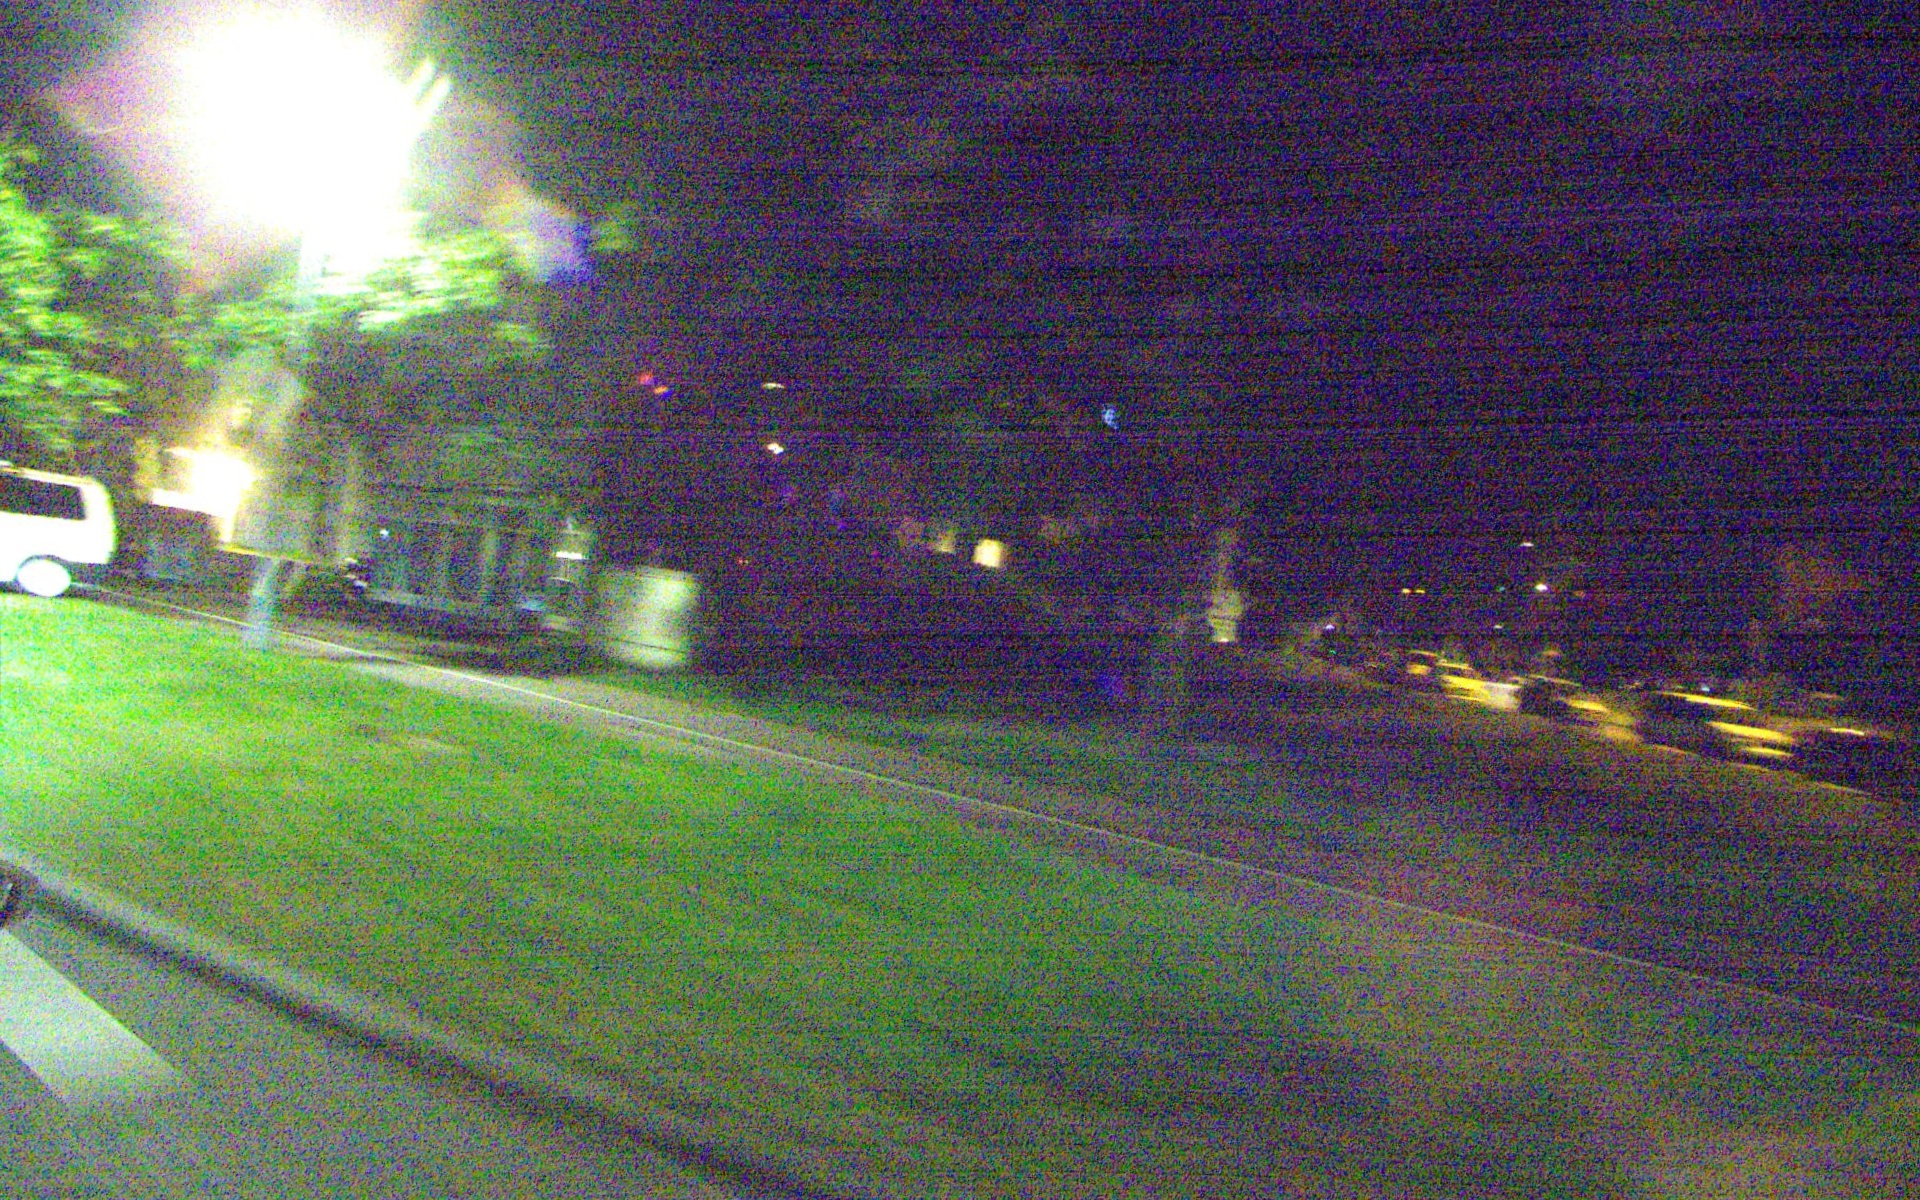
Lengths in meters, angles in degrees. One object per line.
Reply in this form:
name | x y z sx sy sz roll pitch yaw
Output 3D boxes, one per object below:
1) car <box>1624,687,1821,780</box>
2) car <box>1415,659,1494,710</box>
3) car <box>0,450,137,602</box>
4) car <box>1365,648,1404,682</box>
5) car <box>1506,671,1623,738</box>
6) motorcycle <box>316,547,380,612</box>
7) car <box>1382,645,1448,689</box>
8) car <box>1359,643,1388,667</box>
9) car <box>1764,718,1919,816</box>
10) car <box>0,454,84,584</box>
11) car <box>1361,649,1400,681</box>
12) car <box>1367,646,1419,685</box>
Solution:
car | 19.629 3.378 26.168 1.730 1.691 4.329 8 0 2
car | 20.560 3.482 41.966 1.636 1.691 3.431 8 0 6
car | -15.014 -1.285 13.847 2.066 2.038 5.191 7 -1 30
car | 24.358 3.690 57.758 1.434 1.691 3.473 8 0 16
car | 19.987 3.425 33.434 1.637 1.691 3.542 8 0 2
motorcycle | -15.209 -0.536 24.963 1.064 1.342 2.681 9 -1 -34
car | 21.585 3.138 47.844 1.804 1.691 4.415 8 0 13
car | 34.314 4.576 83.450 1.513 1.691 2.870 8 0 35
car | 19.397 3.533 20.793 1.730 1.492 4.711 8 0 2
car | -17.414 -1.602 15.665 2.066 2.038 5.191 7 -1 30
car | 26.035 3.994 62.377 1.374 1.691 2.926 8 0 9
car | 22.379 3.332 52.070 1.546 1.691 4.099 8 0 13
